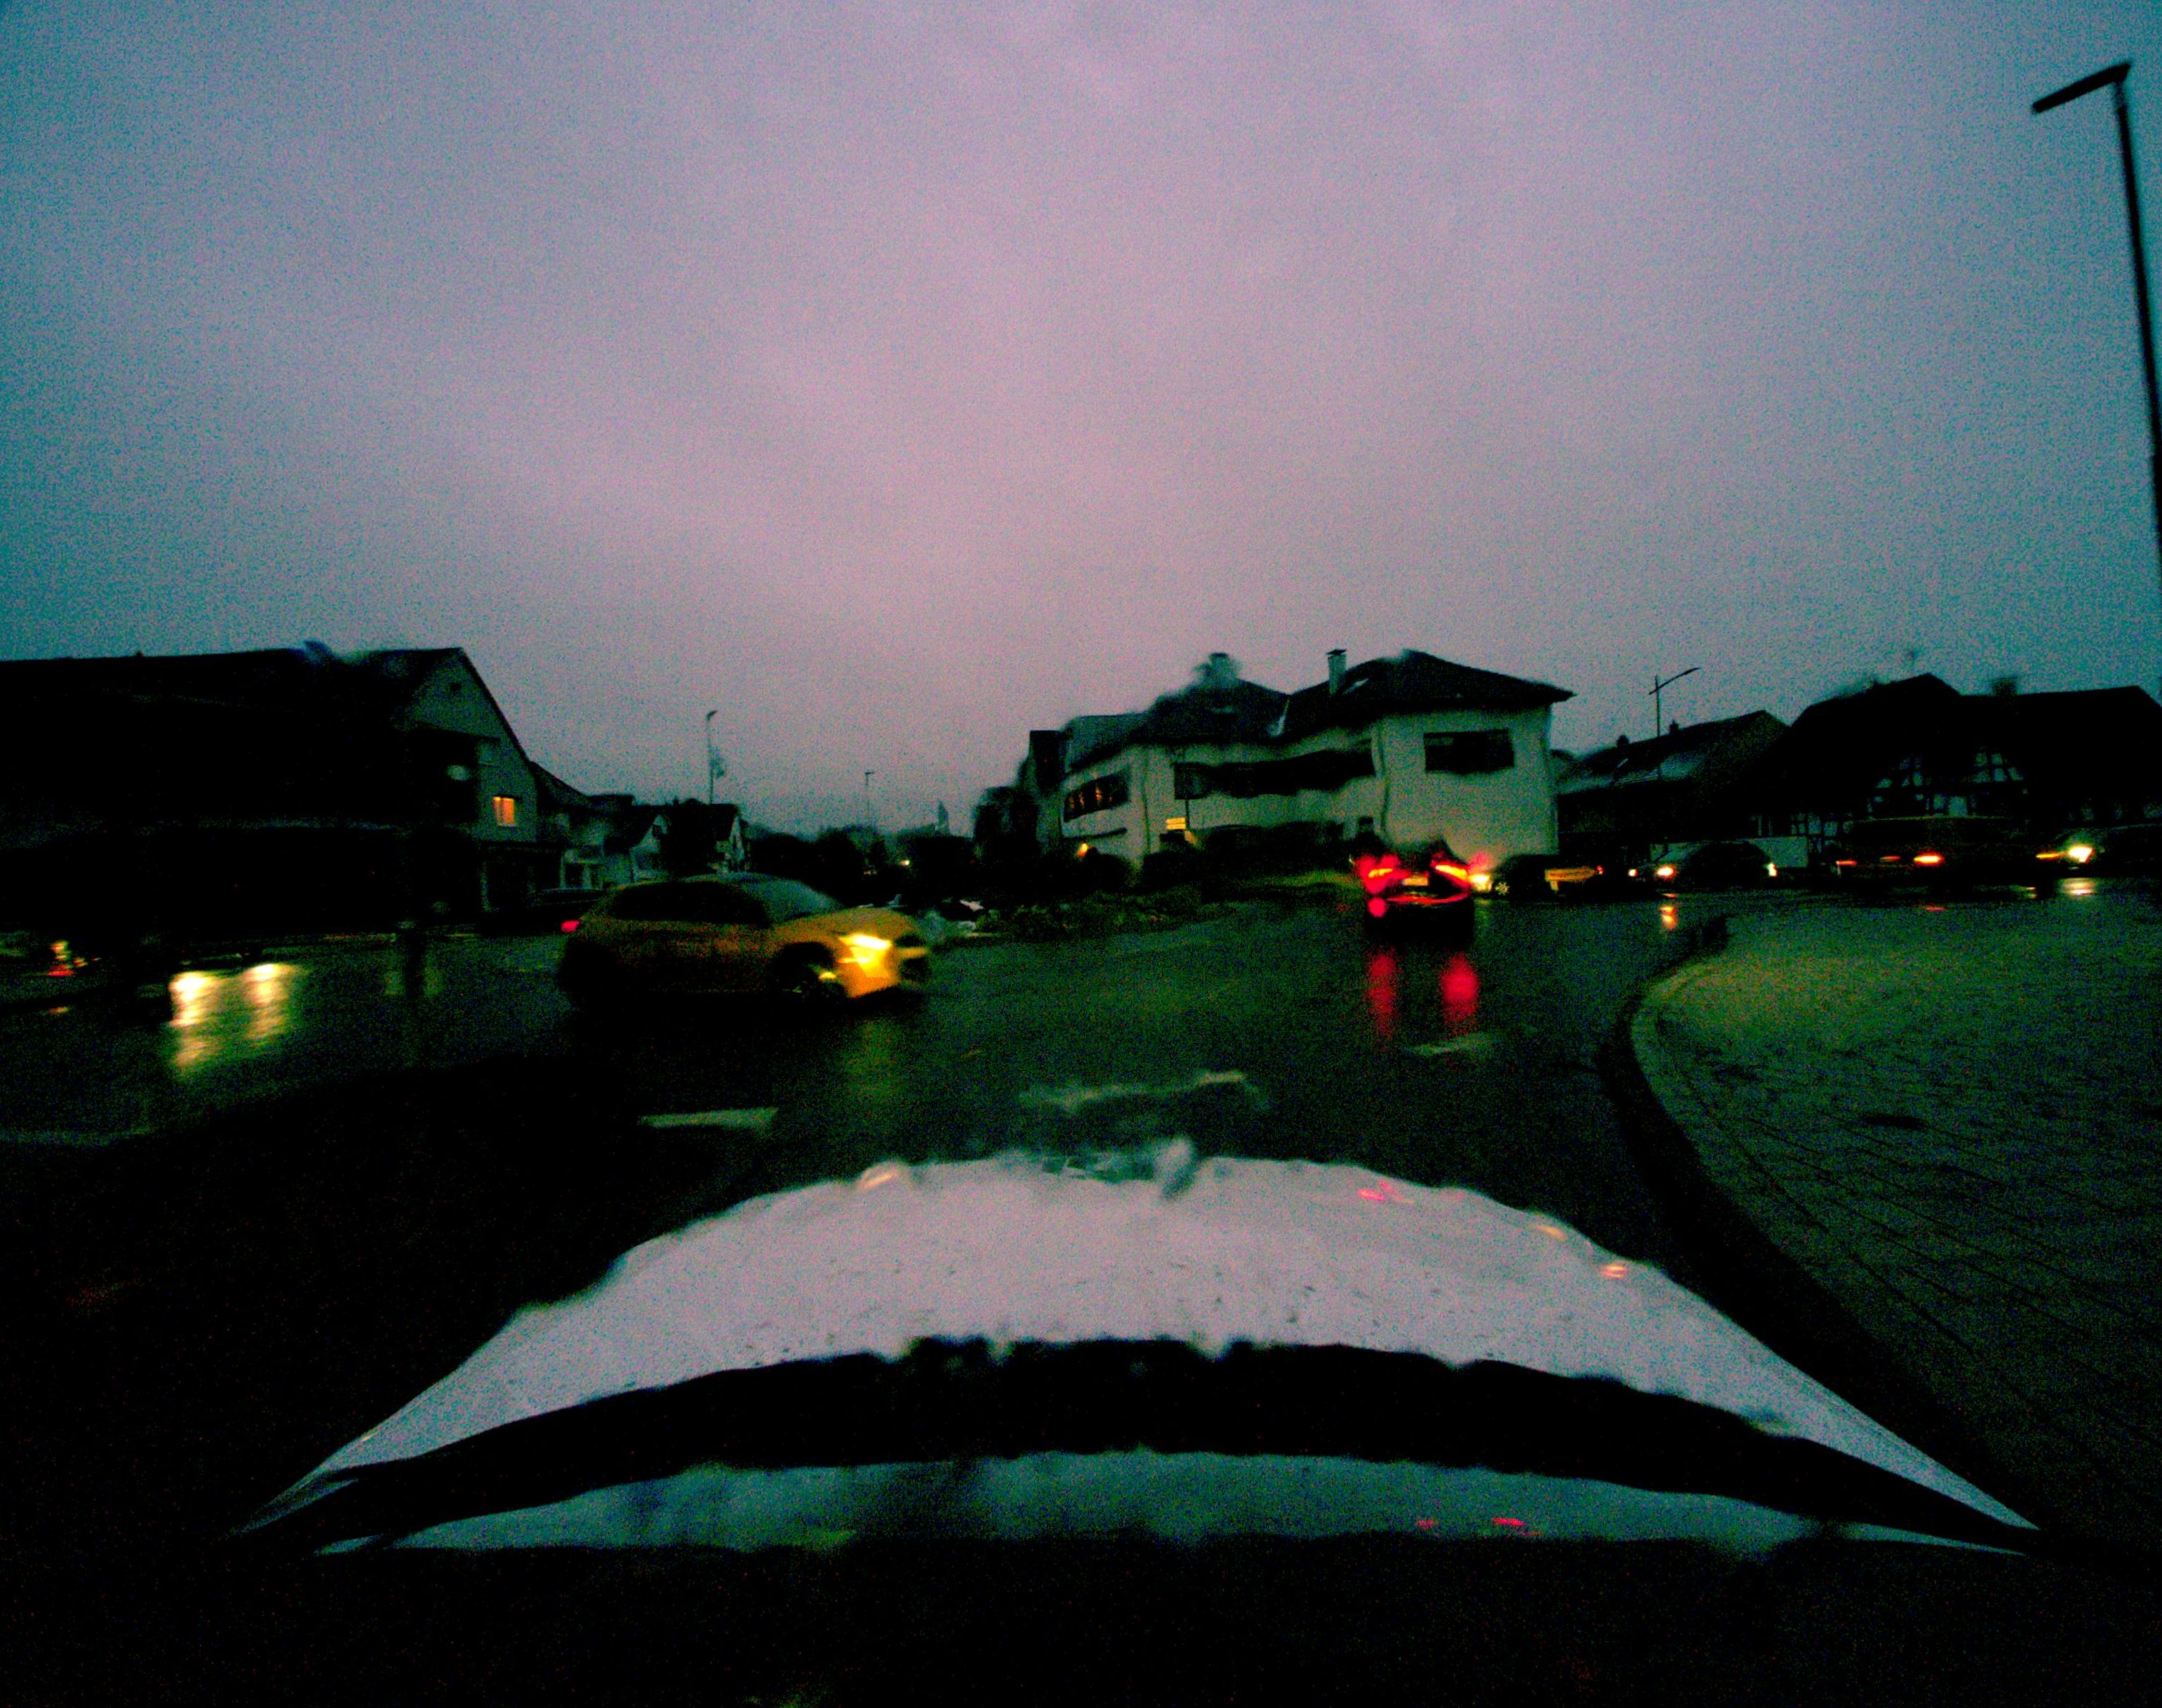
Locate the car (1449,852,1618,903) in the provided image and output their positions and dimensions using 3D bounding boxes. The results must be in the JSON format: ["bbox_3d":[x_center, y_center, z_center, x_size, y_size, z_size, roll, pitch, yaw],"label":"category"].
[{"bbox_3d":[14.083,0.764,25.564,4.204,1.384,1.851,-2,-3,2],"label":"car"}]

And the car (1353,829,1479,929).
[{"bbox_3d":[6.262,0.420,15.594,1.900,1.615,3.969,-3,-1,19],"label":"car"}]

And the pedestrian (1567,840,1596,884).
[{"bbox_3d":[19.239,0.303,31.312,0.711,1.621,0.584,-3,0,8],"label":"pedestrian"}]

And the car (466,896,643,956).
[{"bbox_3d":[-17.269,2.341,26.894,4.476,1.611,1.898,-2,-1,-4],"label":"car"}]

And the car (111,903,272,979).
[{"bbox_3d":[-22.913,2.144,20.942,4.572,1.593,1.966,-1,0,32],"label":"car"}]

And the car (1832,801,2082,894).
[{"bbox_3d":[21.765,-0.170,20.300,4.888,2.014,1.991,-2,-1,-13],"label":"car"}]

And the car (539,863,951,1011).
[{"bbox_3d":[-3.704,0.902,9.260,3.974,1.422,1.721,-2,-1,11],"label":"car"}]

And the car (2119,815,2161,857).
[{"bbox_3d":[42.797,-0.758,31.393,3.700,1.550,1.670,-2,-1,-6],"label":"car"}]

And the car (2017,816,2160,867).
[{"bbox_3d":[34.043,-0.423,27.520,4.258,1.508,1.685,-2,-2,-20],"label":"car"}]

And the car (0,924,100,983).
[{"bbox_3d":[-34.819,3.248,26.224,4.050,1.662,1.700,-2,-1,-6],"label":"car"}]

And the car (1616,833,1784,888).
[{"bbox_3d":[19.464,0.225,25.732,3.975,1.552,1.696,-2,-2,-1],"label":"car"}]

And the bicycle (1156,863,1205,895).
[{"bbox_3d":[4.195,1.063,34.407,1.918,1.295,0.555,-3,1,27],"label":"bicycle"}]

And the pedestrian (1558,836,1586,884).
[{"bbox_3d":[19.413,0.221,32.205,0.711,1.832,0.639,-3,1,8],"label":"pedestrian"}]

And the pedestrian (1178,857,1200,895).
[{"bbox_3d":[4.600,0.933,34.721,0.683,1.564,0.614,-3,0,28],"label":"pedestrian"}]
